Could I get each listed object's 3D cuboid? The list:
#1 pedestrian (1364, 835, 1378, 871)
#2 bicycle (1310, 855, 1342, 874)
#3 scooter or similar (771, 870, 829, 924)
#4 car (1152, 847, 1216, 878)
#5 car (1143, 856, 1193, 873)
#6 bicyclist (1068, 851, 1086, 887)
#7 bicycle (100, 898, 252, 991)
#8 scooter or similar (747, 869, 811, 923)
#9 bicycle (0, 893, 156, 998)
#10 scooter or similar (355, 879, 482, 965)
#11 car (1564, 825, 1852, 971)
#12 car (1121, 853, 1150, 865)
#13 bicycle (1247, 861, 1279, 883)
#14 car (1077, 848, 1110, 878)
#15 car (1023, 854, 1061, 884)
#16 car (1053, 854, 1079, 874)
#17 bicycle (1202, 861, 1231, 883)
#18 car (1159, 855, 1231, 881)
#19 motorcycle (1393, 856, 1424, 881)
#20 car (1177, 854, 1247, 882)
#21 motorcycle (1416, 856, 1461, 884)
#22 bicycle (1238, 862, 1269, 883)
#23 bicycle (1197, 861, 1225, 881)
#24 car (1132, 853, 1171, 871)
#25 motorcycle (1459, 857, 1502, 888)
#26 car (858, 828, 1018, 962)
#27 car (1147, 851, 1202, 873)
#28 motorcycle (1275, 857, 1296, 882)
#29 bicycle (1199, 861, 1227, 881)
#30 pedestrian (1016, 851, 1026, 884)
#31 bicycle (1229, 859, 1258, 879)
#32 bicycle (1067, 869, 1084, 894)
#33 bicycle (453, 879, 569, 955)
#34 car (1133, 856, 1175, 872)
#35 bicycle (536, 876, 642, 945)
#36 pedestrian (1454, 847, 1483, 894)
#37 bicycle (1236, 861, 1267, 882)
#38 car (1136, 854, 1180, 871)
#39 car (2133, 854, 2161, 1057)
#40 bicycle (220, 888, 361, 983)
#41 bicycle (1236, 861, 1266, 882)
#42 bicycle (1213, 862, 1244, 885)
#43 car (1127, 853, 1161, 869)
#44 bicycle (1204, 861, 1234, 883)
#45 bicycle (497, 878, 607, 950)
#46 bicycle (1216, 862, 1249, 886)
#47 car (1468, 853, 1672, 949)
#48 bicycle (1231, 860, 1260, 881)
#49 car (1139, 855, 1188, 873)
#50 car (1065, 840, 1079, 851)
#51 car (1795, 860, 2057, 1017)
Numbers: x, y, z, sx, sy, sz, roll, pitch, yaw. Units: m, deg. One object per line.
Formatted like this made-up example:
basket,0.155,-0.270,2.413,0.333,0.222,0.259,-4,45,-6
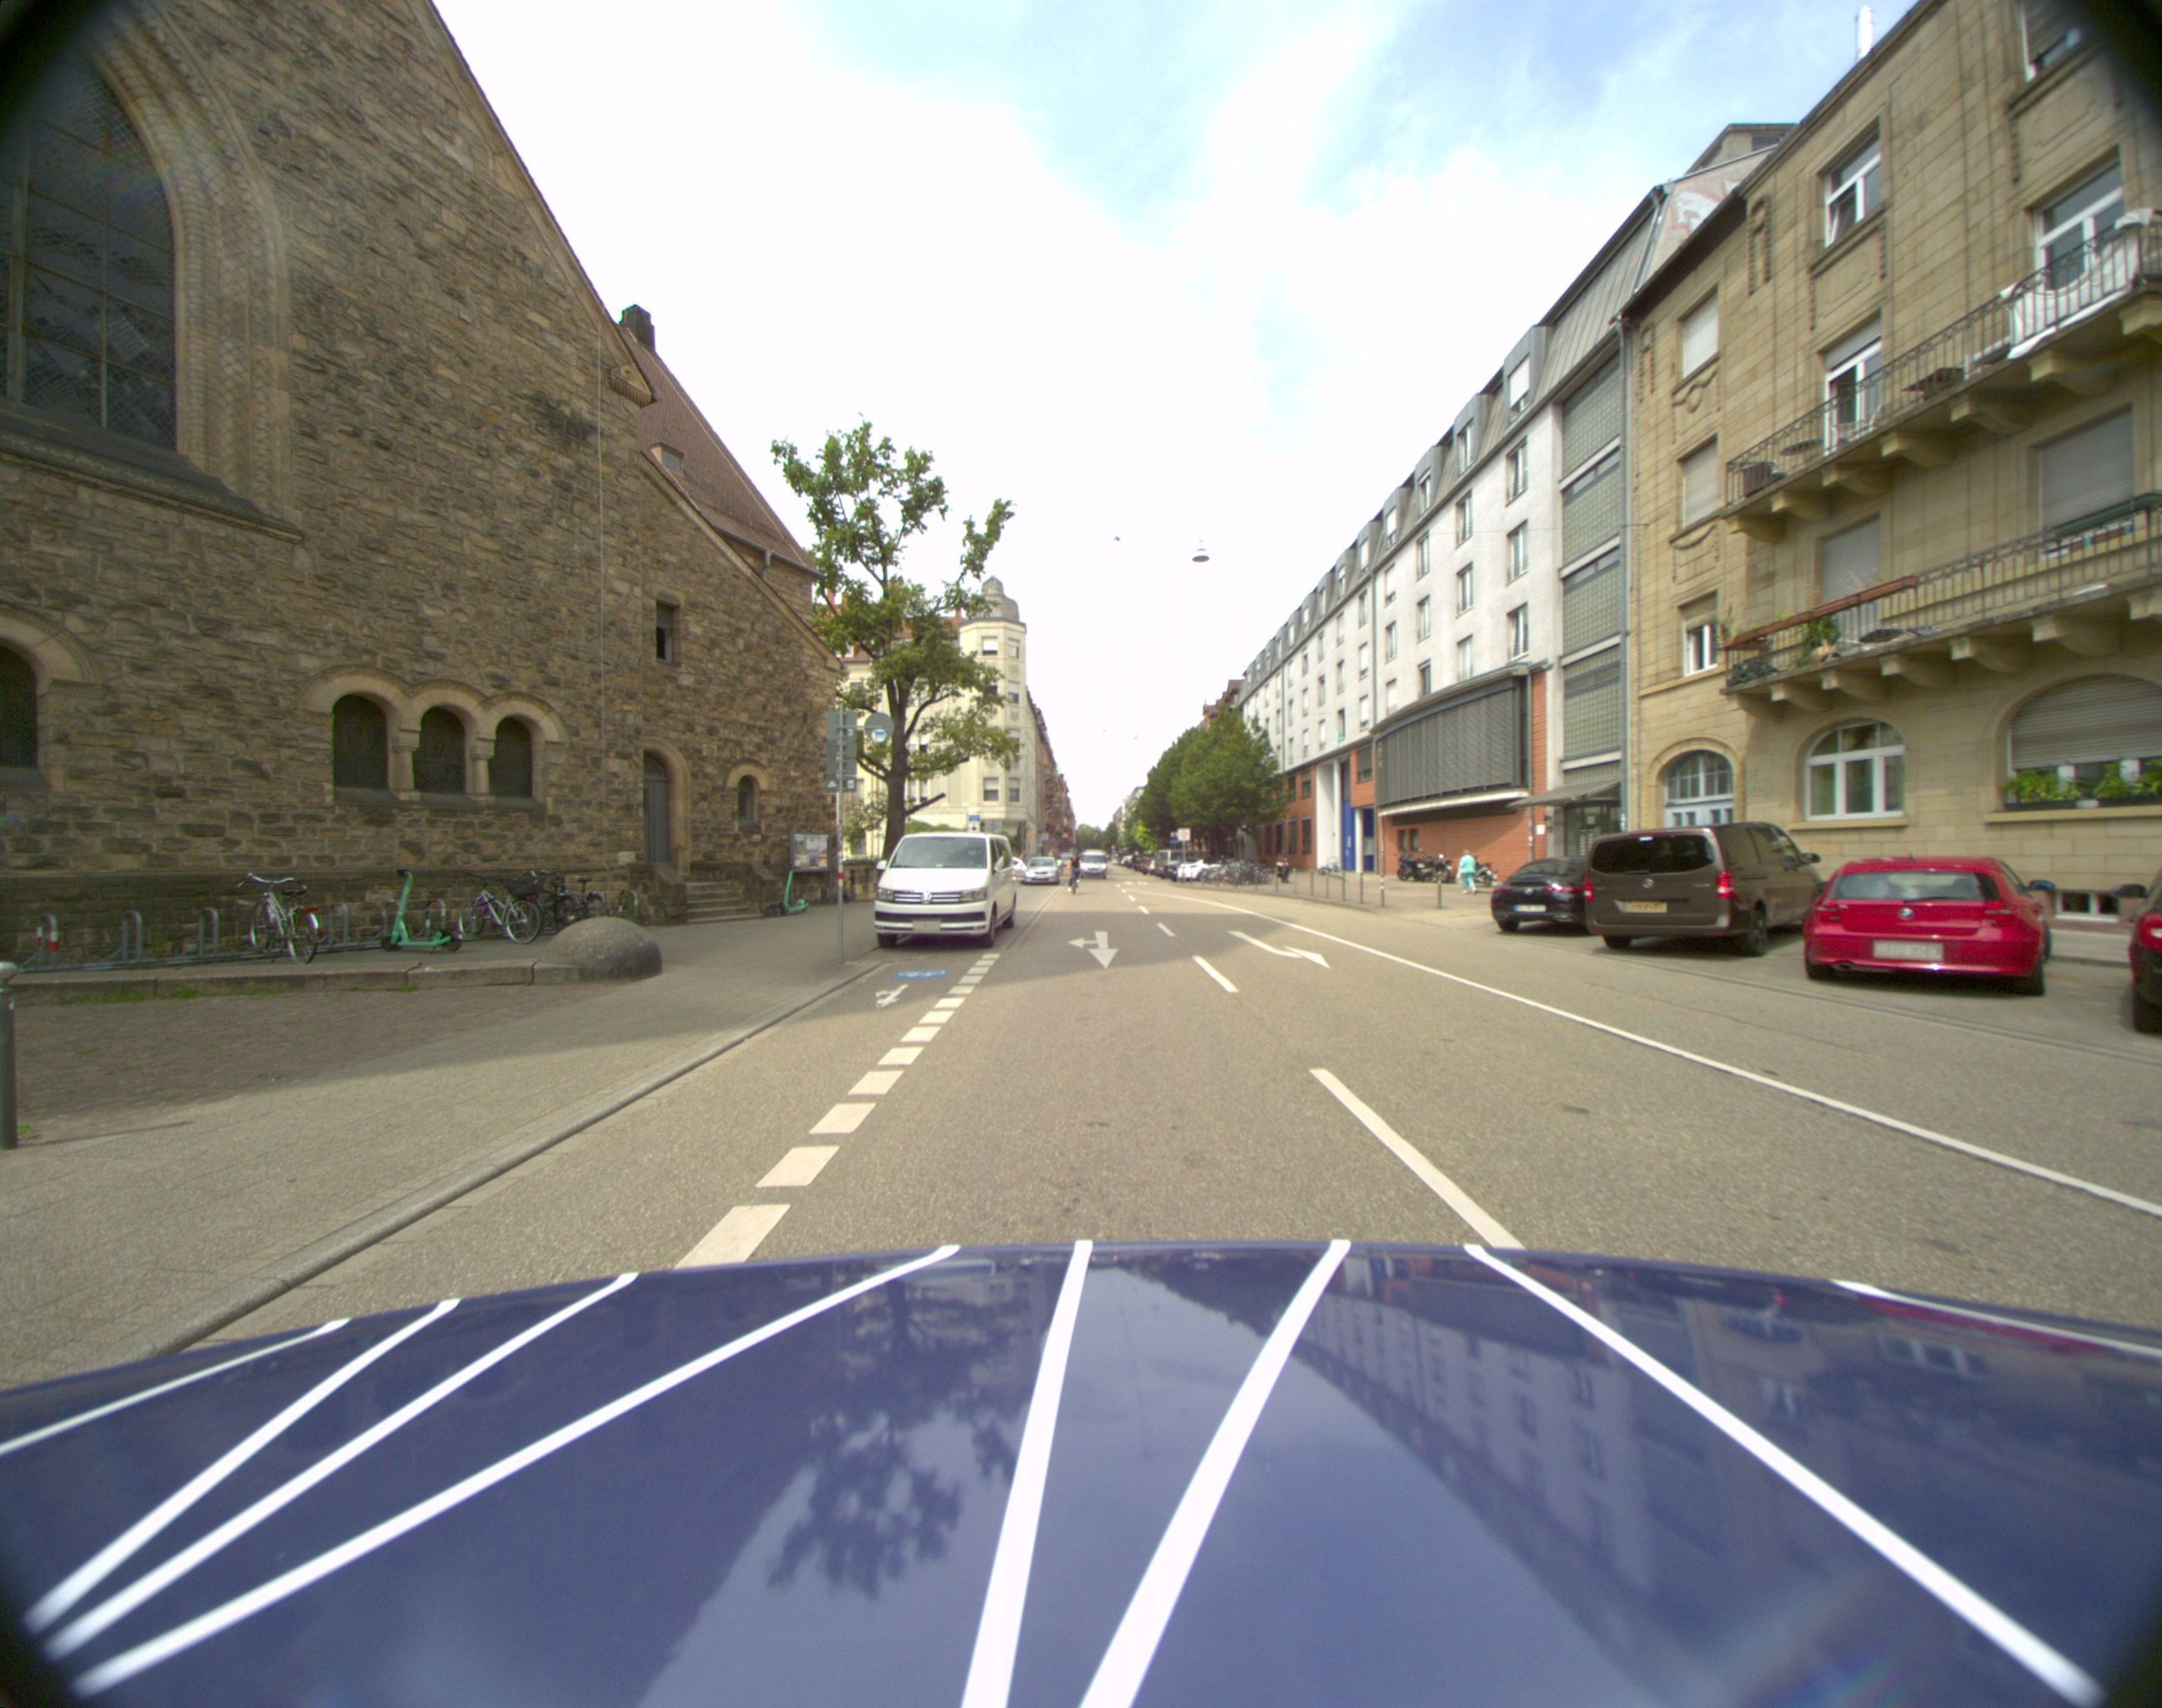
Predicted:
pedestrian,16.310,-0.036,42.712,0.729,2.002,0.783,0,0,20
bicycle,14.221,0.615,44.192,1.613,0.920,0.932,-6,-1,13
scooter or similar,-6.554,0.977,17.780,0.545,1.200,1.444,0,0,14
car,7.142,0.557,52.722,4.011,1.986,1.857,-3,1,-30
car,7.352,0.861,63.878,4.012,1.381,1.592,-1,-1,-32
bicyclist,-0.162,0.606,30.340,0.649,1.408,1.094,-1,0,2
bicycle,-10.505,1.018,8.816,1.778,0.951,0.547,0,0,20
scooter or similar,-7.164,0.963,18.085,0.545,1.200,1.483,0,0,21
bicycle,-10.803,0.942,8.155,1.778,0.952,0.547,2,1,20
scooter or similar,-9.402,0.931,10.784,1.778,1.133,0.547,0,0,20
car,10.228,0.556,12.261,5.280,1.899,2.116,-1,0,-33
car,8.213,0.688,114.440,4.012,1.746,1.687,-1,-1,-32
bicycle,8.661,0.849,36.113,1.409,1.020,0.402,-1,0,3
car,0.881,0.633,51.303,1.942,1.913,4.008,-1,-1,5
car,-1.979,0.754,39.609,1.759,1.460,4.418,0,0,0
car,-1.339,0.908,67.986,1.853,1.661,4.008,-1,-1,5
bicycle,7.037,0.934,39.398,1.409,1.020,0.402,-3,0,3
car,7.066,0.846,46.921,4.324,1.460,1.713,-1,0,-33
motorcycle,14.297,0.604,33.199,0.585,1.042,1.657,-2,0,0
car,7.695,0.812,44.378,4.013,1.536,1.598,-1,0,-33
motorcycle,14.452,0.637,30.779,0.585,1.042,1.965,-2,0,-10
bicycle,8.472,0.915,37.359,1.409,1.020,0.402,-1,0,3
bicycle,7.082,0.939,41.479,1.409,1.020,0.402,-3,0,3
car,7.775,0.843,83.207,4.052,1.846,1.687,-1,-1,-32
motorcycle,14.211,0.647,27.078,0.585,1.042,1.794,-2,0,2
car,-2.375,0.599,14.071,2.019,2.017,5.122,1,1,0
car,7.158,0.614,58.229,4.012,1.605,1.708,-1,-1,-32
motorcycle,9.833,0.716,36.608,0.585,1.166,1.780,-2,0,3
bicycle,7.065,0.911,40.670,1.409,1.020,0.402,-3,0,3
pedestrian,-3.135,0.705,39.720,0.468,1.725,0.410,0,0,0
bicycle,8.500,0.791,39.683,1.409,1.020,0.402,-1,0,3
bicycle,-0.216,1.081,30.230,0.586,0.927,1.783,-1,-1,2
bicycle,-8.913,0.958,11.883,1.778,1.105,0.547,0,0,20
car,7.435,0.998,76.883,4.012,1.558,1.687,-1,-1,-32
bicycle,-8.472,0.951,13.073,1.778,1.105,0.547,0,0,20
pedestrian,12.363,0.531,24.273,0.661,1.477,0.509,-1,0,2
bicycle,8.501,0.863,37.895,1.409,1.020,0.402,-1,0,3
car,7.520,0.833,74.250,4.012,1.558,1.687,-1,-1,-32
car,10.223,0.761,6.301,4.004,1.494,1.627,-1,0,-34
bicycle,-10.055,1.005,9.663,1.778,1.105,0.547,0,0,20
bicycle,8.573,0.872,38.379,1.409,1.020,0.402,-1,0,3
bicycle,7.124,0.934,36.753,1.409,1.032,0.402,-3,0,3
car,7.974,0.895,96.330,4.012,1.846,1.687,-1,-1,-32
bicycle,7.032,0.924,38.756,1.409,1.032,0.402,-3,0,3
bicycle,-8.681,0.952,12.456,1.771,1.105,0.547,0,0,20
bicycle,7.143,0.935,35.860,1.409,1.032,0.402,-3,0,3
car,9.805,0.838,15.084,4.679,1.401,1.895,-4,0,-38
bicycle,8.497,0.864,39.198,1.409,1.020,0.402,-1,0,3
car,7.212,0.889,66.054,4.012,1.445,1.687,-1,-1,-32
car,-1.307,-1.254,112.843,1.854,1.505,4.006,-1,-1,1
car,10.101,0.806,9.000,4.020,1.401,1.792,-1,0,-38
